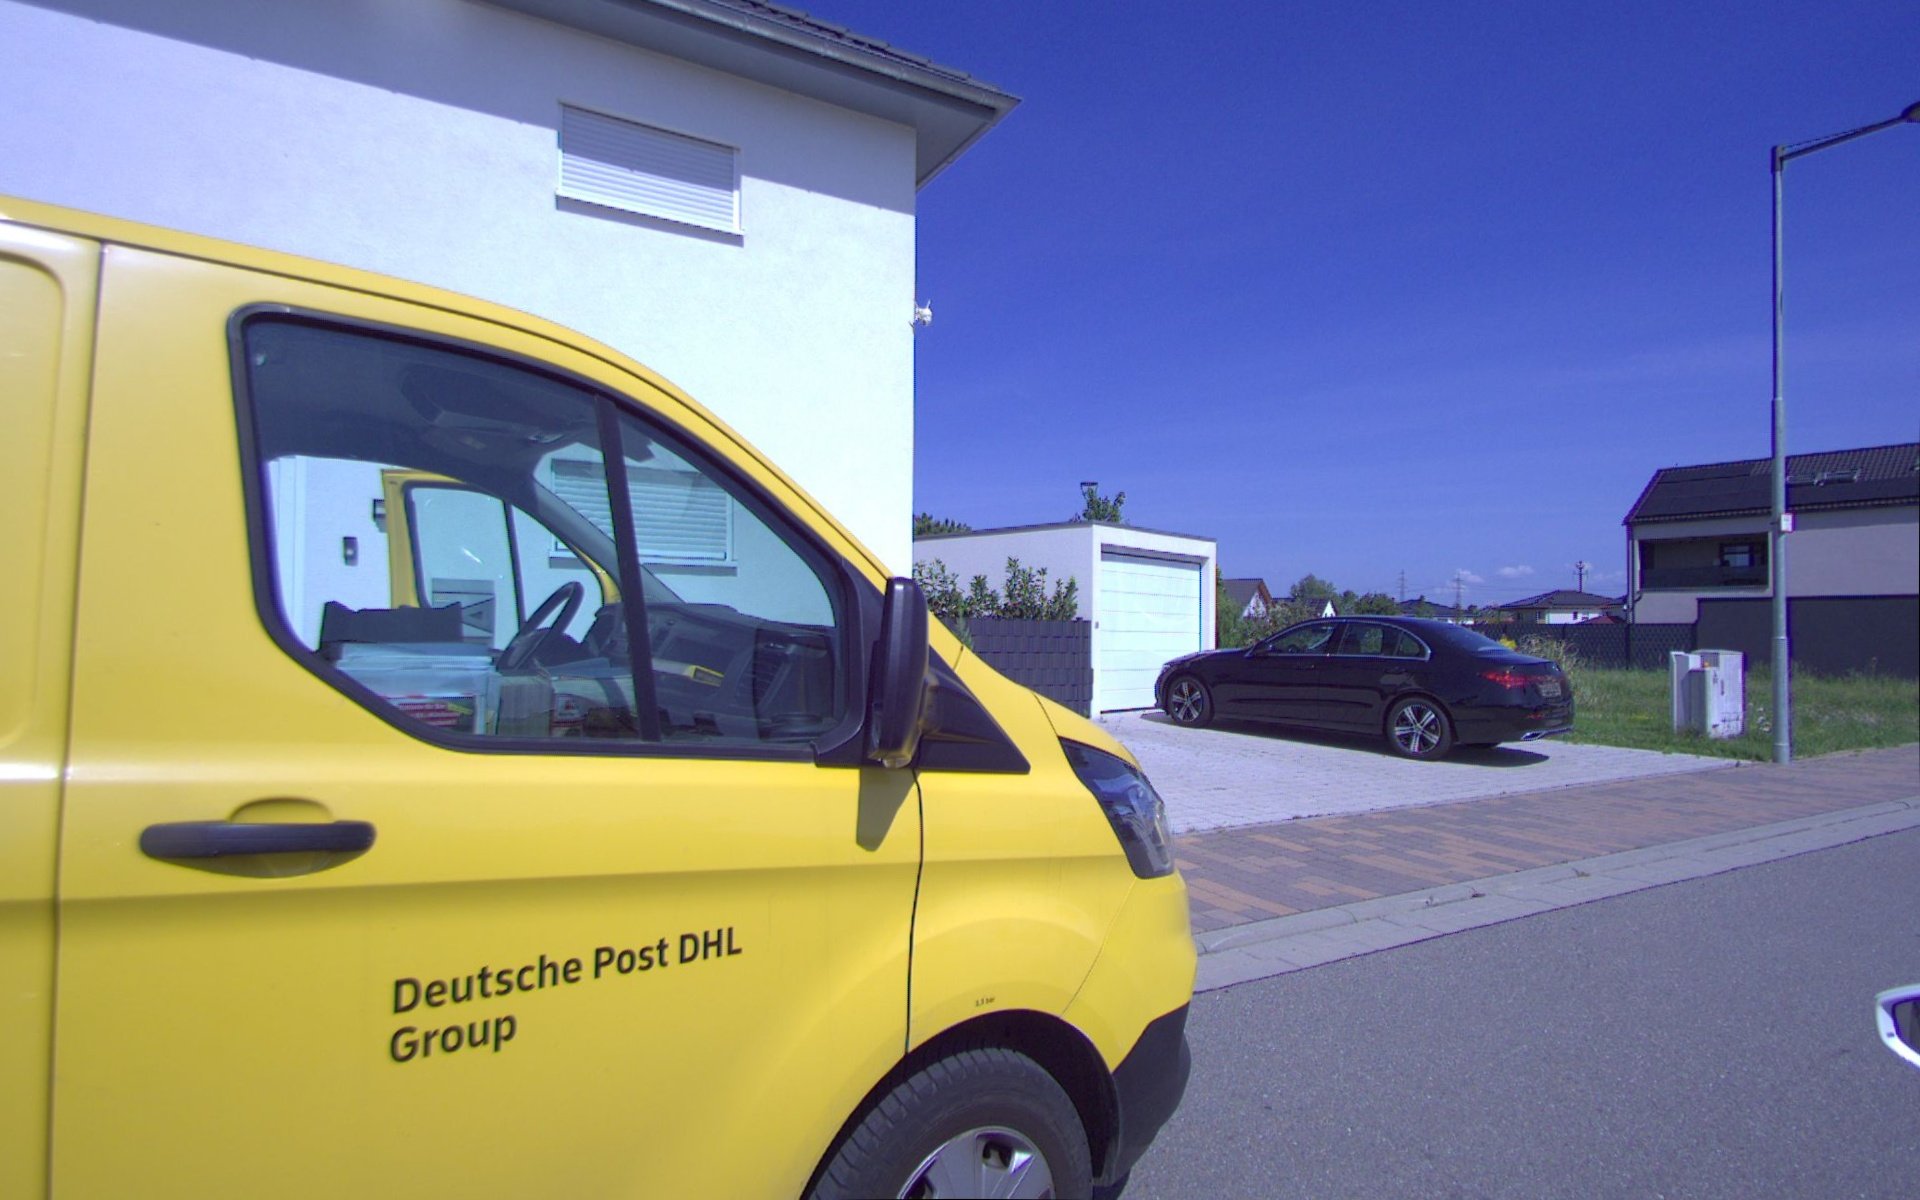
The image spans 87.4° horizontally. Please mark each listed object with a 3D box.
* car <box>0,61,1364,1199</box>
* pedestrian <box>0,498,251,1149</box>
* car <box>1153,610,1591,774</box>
[{"bbox_3d":[-1.559,0.470,1.769,4.791,2.040,1.872,2,-1,-34],"label":"car"},{"bbox_3d":[-2.648,0.581,3.068,0.529,1.708,0.928,1,1,-20],"label":"pedestrian"},{"bbox_3d":[4.512,0.894,11.540,1.736,1.471,4.352,2,-1,-42],"label":"car"}]
